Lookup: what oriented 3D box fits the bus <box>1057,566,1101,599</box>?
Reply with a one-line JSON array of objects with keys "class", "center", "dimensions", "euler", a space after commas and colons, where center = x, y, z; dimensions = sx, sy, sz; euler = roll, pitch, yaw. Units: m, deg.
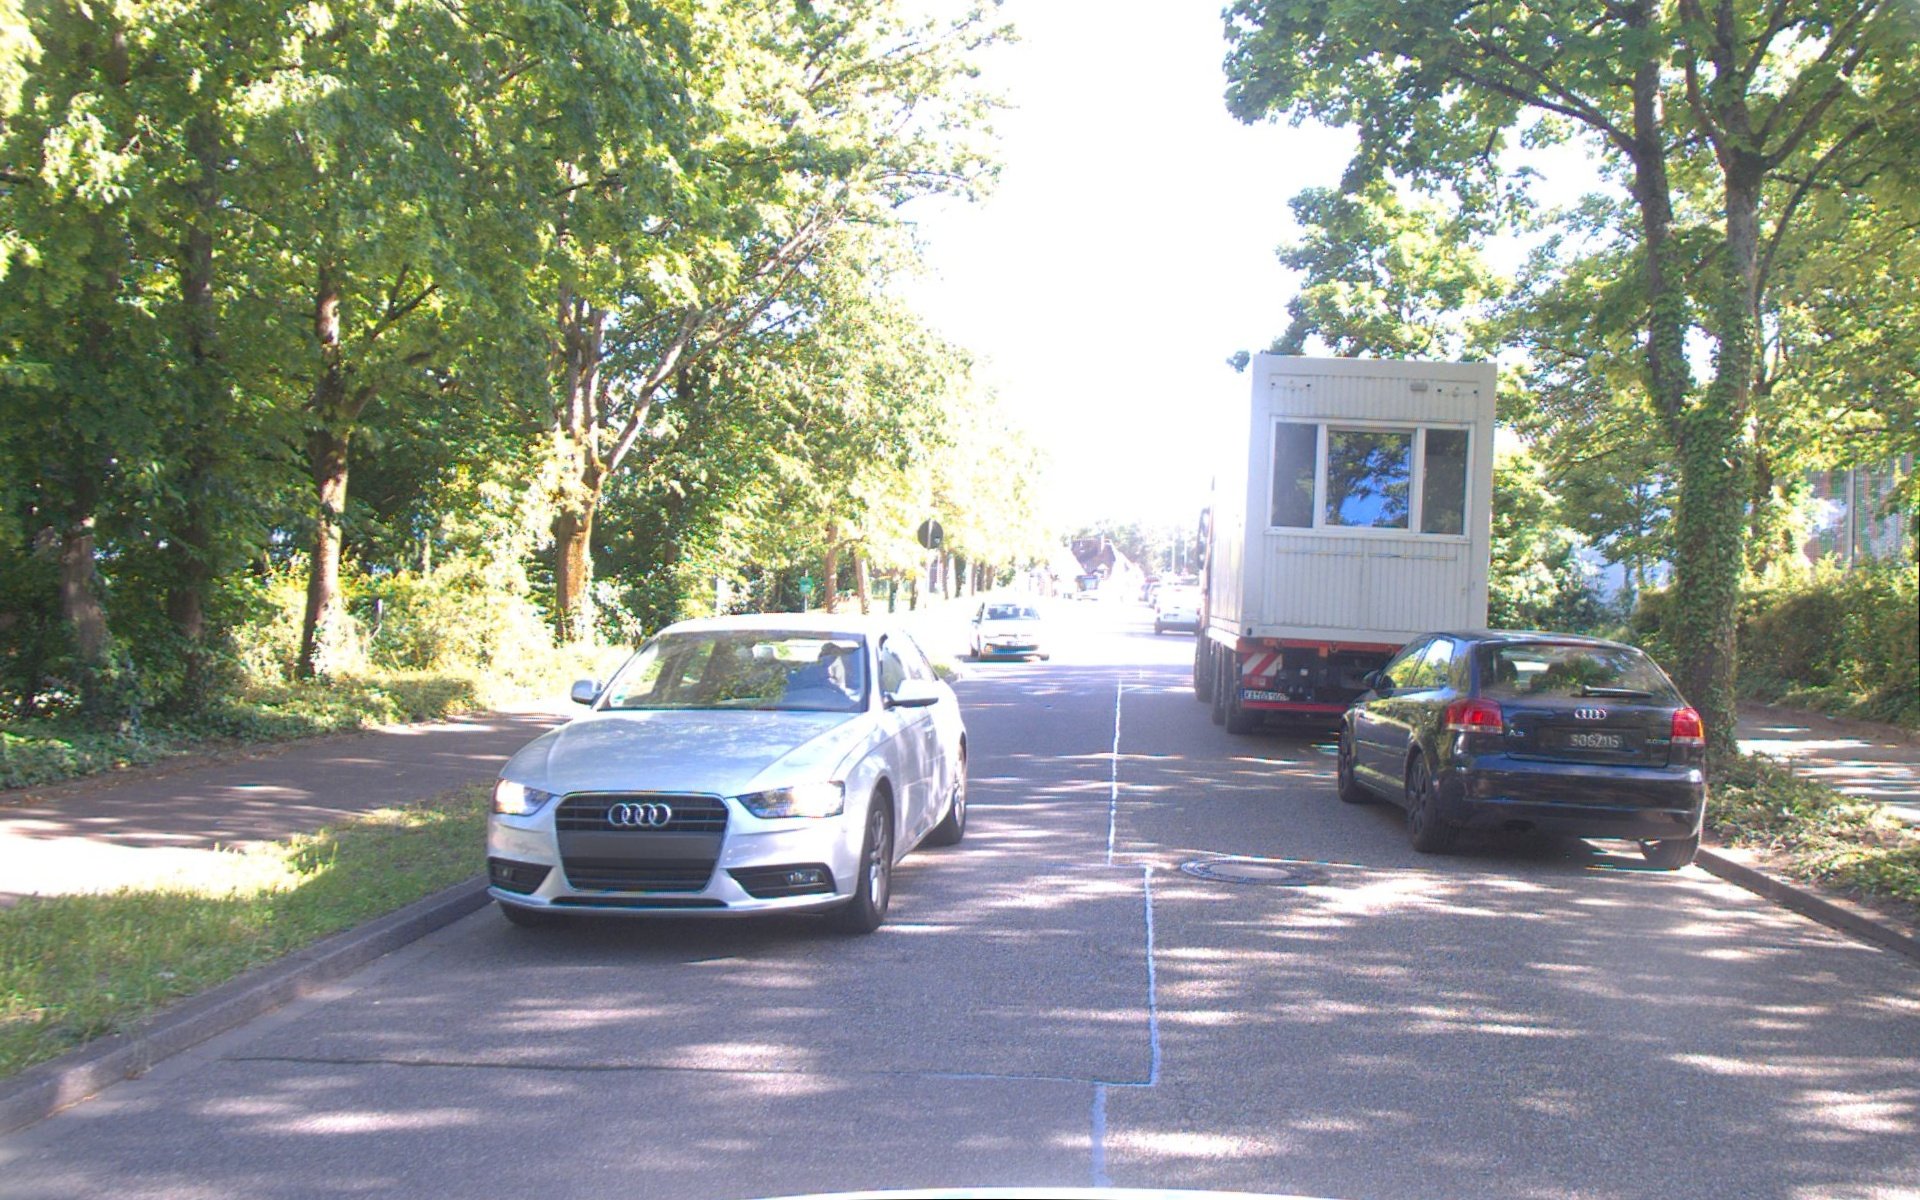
[{"class": "bus", "center": [12.620, -1.846, 174.277], "dimensions": [3.978, 3.407, 9.808], "euler": [0, 0, 8]}]

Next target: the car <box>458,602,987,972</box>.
[{"class": "car", "center": [-0.952, 0.753, 8.770], "dimensions": [1.748, 1.441, 4.108], "euler": [0, 0, 7]}]

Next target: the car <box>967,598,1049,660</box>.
[{"class": "car", "center": [1.141, 0.684, 41.194], "dimensions": [1.769, 1.445, 3.957], "euler": [0, 0, -2]}]

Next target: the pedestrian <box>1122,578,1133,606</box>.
[{"class": "pedestrian", "center": [12.999, -0.628, 128.147], "dimensions": [0.736, 2.150, 0.799], "euler": [3, 0, 9]}]

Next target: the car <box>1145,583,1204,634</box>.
[{"class": "car", "center": [8.255, 0.315, 63.910], "dimensions": [1.906, 1.875, 4.001], "euler": [1, 0, 3]}]

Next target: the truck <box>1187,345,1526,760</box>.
[{"class": "truck", "center": [4.699, -0.527, 21.844], "dimensions": [2.714, 4.065, 10.355], "euler": [2, 1, 5]}]

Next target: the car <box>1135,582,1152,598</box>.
[{"class": "car", "center": [20.556, -1.107, 185.092], "dimensions": [1.743, 1.840, 4.002], "euler": [0, 0, 5]}]

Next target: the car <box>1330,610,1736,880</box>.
[{"class": "car", "center": [3.777, 0.856, 11.632], "dimensions": [1.606, 1.445, 4.002], "euler": [2, 1, 3]}]
